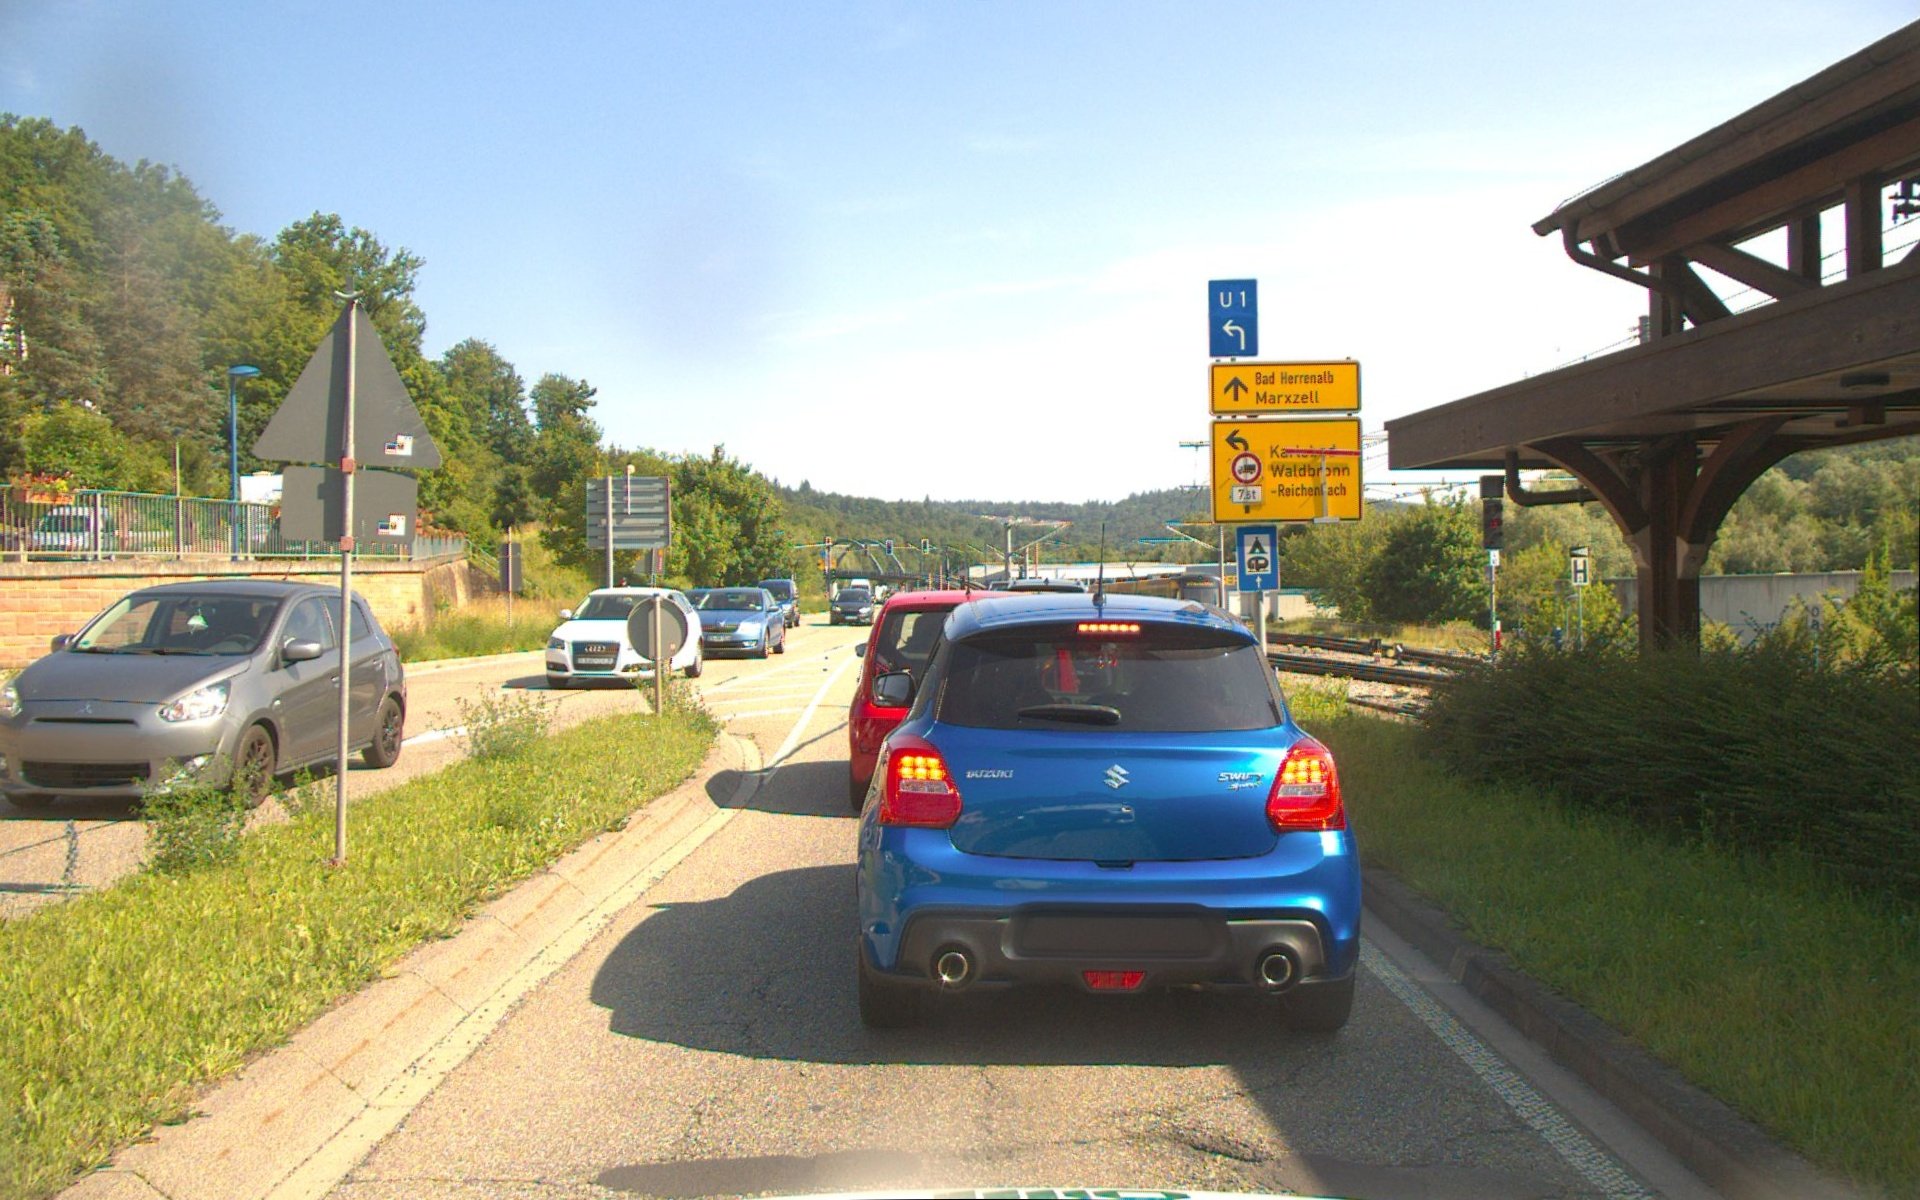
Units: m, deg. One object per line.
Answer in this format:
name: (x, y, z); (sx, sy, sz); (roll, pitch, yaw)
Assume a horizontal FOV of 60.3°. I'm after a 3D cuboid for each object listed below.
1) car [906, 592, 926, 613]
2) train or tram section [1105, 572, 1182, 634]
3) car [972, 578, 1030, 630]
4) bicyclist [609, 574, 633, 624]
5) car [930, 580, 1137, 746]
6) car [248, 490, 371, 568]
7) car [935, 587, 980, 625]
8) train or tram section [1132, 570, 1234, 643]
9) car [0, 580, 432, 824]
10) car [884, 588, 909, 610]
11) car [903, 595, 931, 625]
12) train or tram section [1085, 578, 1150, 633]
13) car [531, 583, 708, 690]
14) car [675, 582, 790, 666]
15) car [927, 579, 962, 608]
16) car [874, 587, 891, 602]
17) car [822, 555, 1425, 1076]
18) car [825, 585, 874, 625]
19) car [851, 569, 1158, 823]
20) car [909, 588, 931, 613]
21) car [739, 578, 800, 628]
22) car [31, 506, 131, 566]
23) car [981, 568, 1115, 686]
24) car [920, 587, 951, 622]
car: (-4.617, 0.261, 174.350); (1.953, 2.048, 4.000); (2, 1, -1)
train or tram section: (10.905, 0.151, 99.441); (2.730, 3.423, 12.042); (2, 0, -2)
car: (1.462, 0.122, 59.756); (1.952, 1.766, 4.000); (2, 1, 1)
bicyclist: (-10.484, -0.029, 51.146); (0.617, 1.533, 0.505); (2, 1, -4)
car: (0.728, 0.578, 17.975); (1.952, 1.558, 4.602); (0, 1, 1)
car: (-17.727, -1.906, 45.289); (1.982, 1.953, 4.724); (2, 1, -7)
car: (-0.070, 0.227, 71.189); (1.794, 1.456, 3.812); (2, 1, 1)
train or tram section: (11.430, 0.267, 86.398); (2.798, 3.423, 14.347); (1, 0, -2)
car: (-5.282, 0.612, 11.958); (1.637, 1.466, 3.840); (1, 0, 1)
car: (-5.360, -0.082, 140.074); (1.953, 1.814, 3.999); (1, 0, -1)
car: (-3.242, 0.760, 125.448); (1.953, 2.048, 4.000); (2, 1, -1)
train or tram section: (10.469, 0.422, 111.152); (2.700, 3.423, 12.041); (2, 0, -2)
car: (-5.047, 0.489, 25.014); (1.795, 1.393, 3.950); (1, 1, 1)
car: (-4.748, 0.460, 34.991); (1.795, 1.493, 3.812); (2, 3, 1)
car: (-0.855, -0.400, 93.444); (1.794, 1.519, 3.812); (2, 1, 1)
car: (-10.572, -0.777, 226.293); (1.956, 1.848, 3.993); (2, 1, -8)
car: (0.452, 0.644, 7.032); (1.830, 1.575, 3.999); (1, 0, -2)
car: (-4.513, 0.182, 68.054); (1.795, 1.456, 3.810); (2, 1, -2)
car: (0.314, 0.616, 12.700); (1.952, 1.598, 4.000); (1, 0, 1)
car: (-3.668, 0.039, 151.446); (1.953, 2.048, 4.000); (2, 1, -1)
car: (-7.219, 0.077, 63.110); (1.795, 1.743, 3.811); (2, 1, 1)
car: (-26.145, -1.867, 49.331); (1.864, 1.658, 3.982); (0, 1, -16)
car: (1.354, 0.383, 27.104); (1.952, 1.716, 4.497); (2, 1, 1)
car: (-1.589, 0.273, 107.668); (1.953, 2.048, 4.000); (2, 1, -1)
